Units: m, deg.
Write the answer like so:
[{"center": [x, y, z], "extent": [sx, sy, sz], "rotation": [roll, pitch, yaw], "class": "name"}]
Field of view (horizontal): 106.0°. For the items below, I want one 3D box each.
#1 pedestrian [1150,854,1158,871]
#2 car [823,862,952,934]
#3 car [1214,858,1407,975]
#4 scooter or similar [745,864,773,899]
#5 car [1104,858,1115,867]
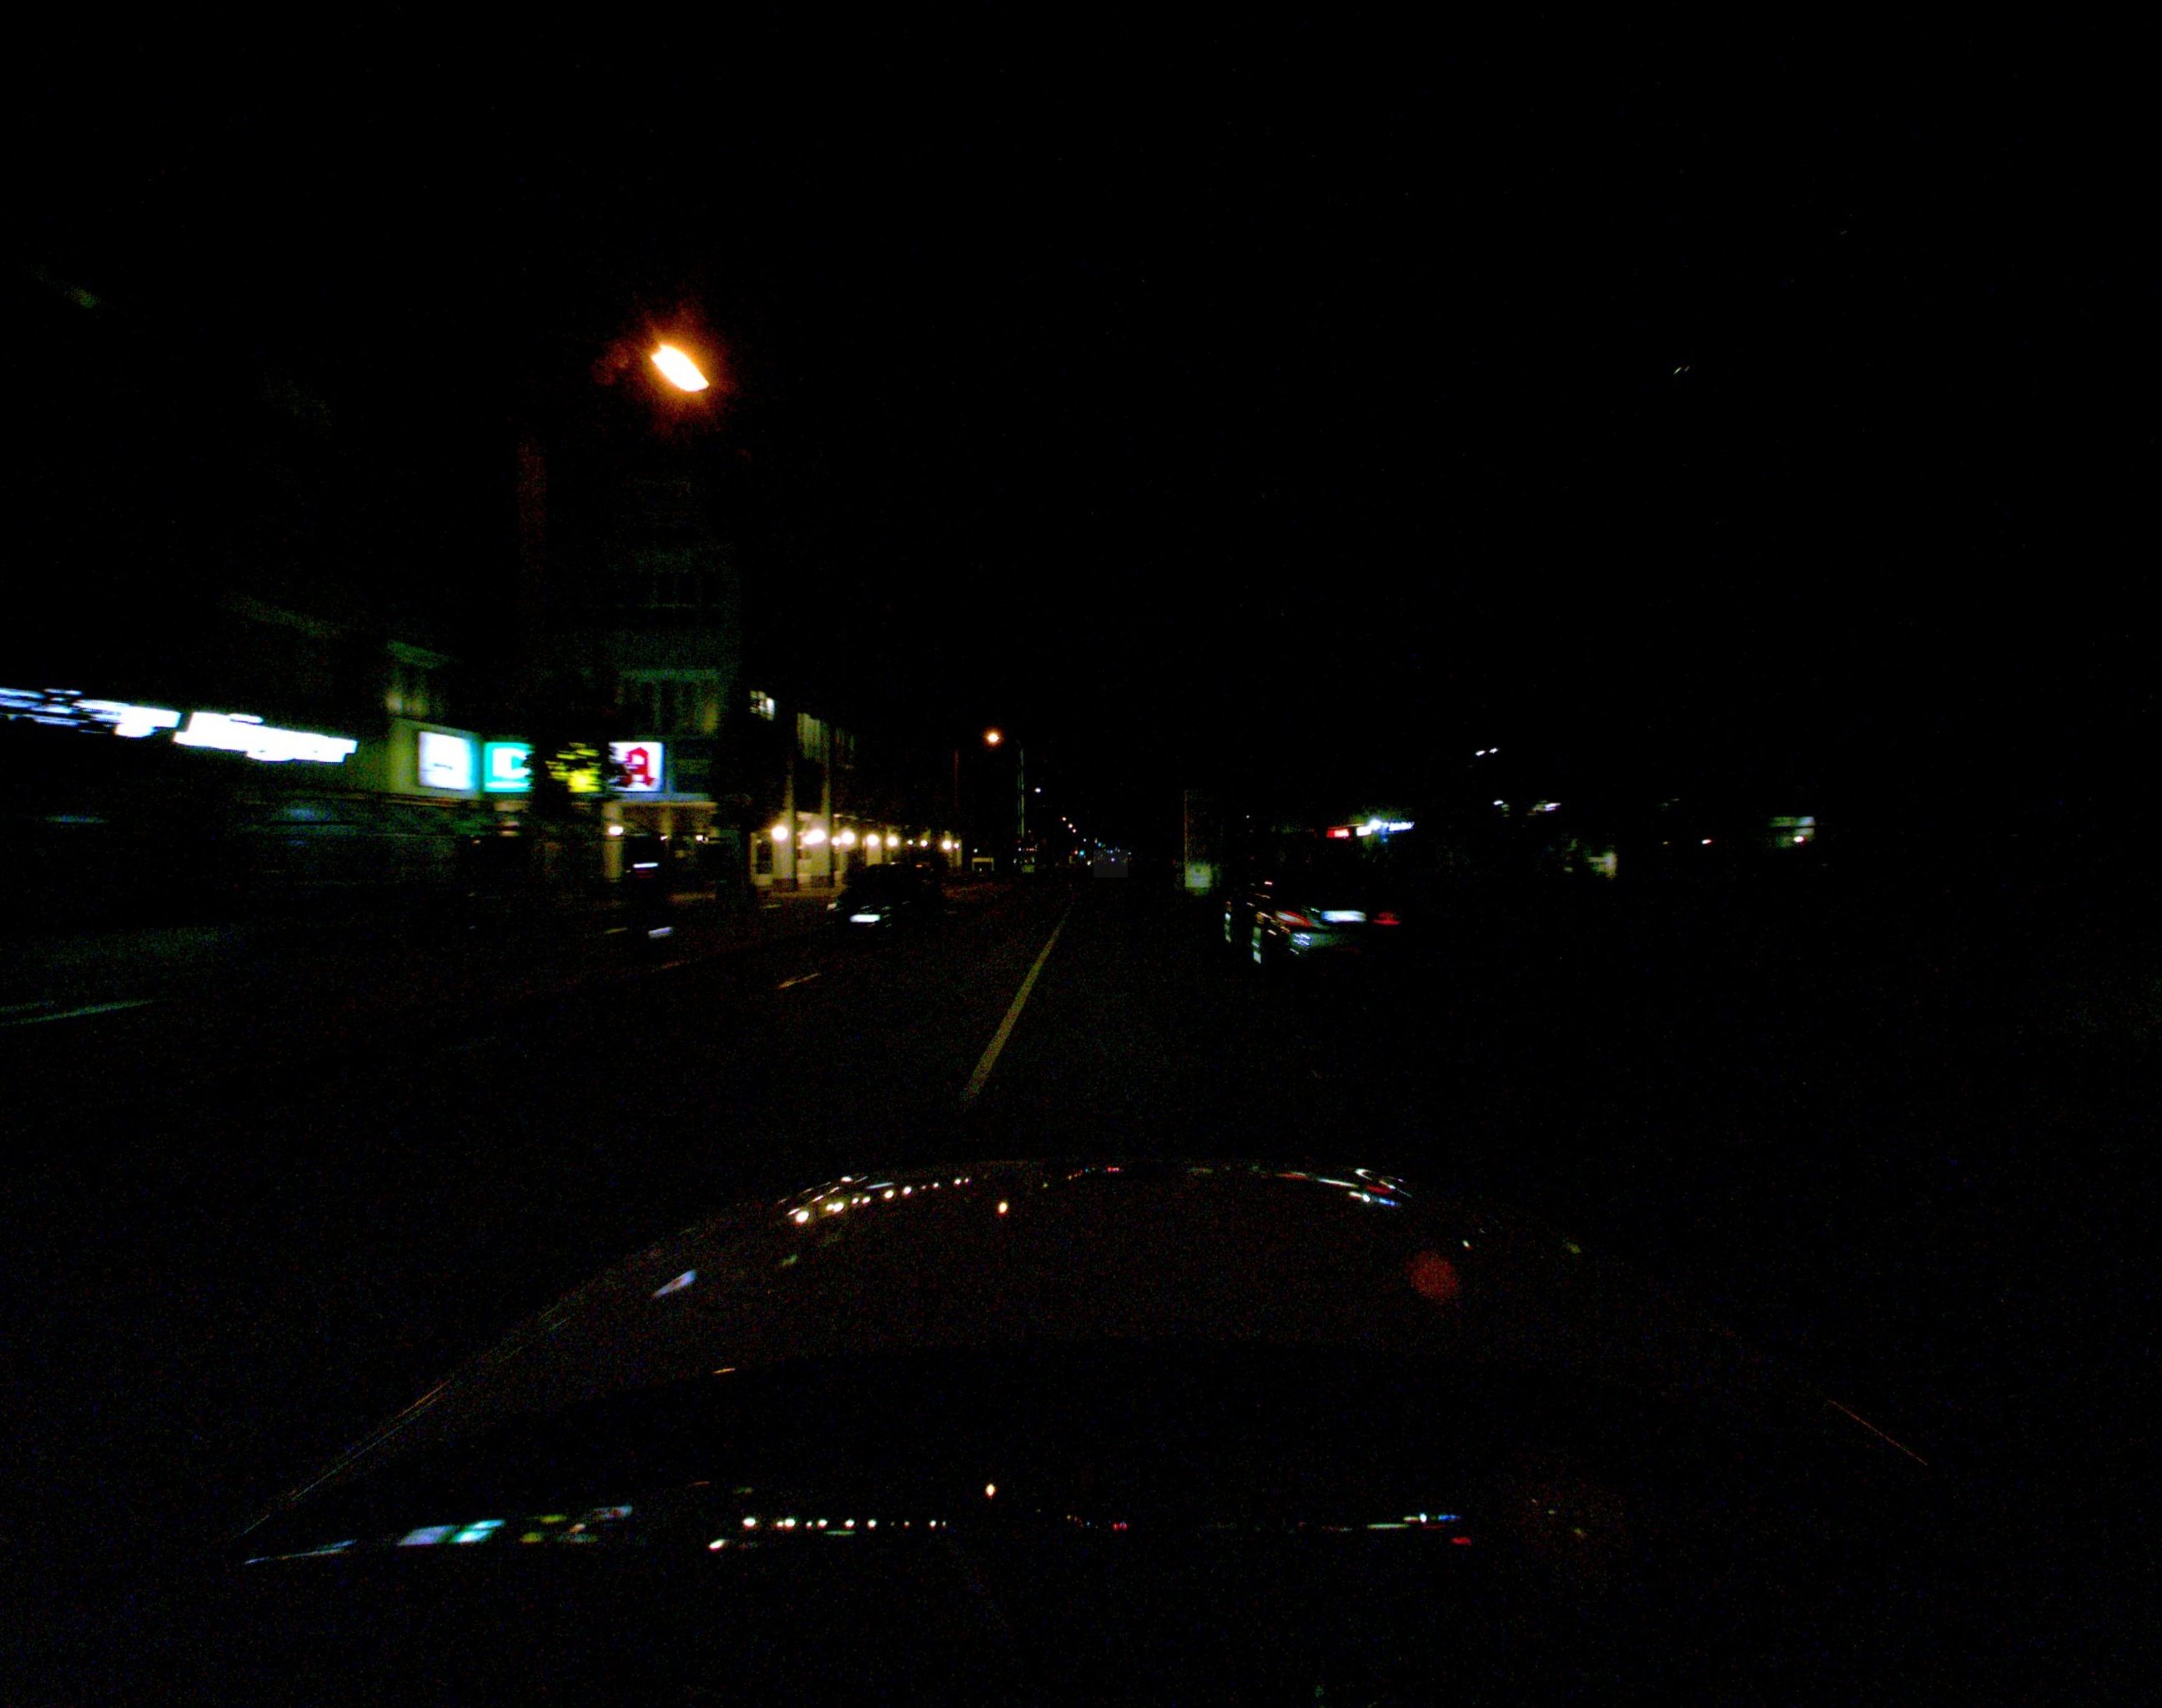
[{"center": [7.925, 0.890, 88.201], "extent": [0.700, 1.818, 1.082], "rotation": [-1, -1, 2], "class": "pedestrian"}, {"center": [-4.269, 0.912, 18.697], "extent": [1.734, 1.413, 4.497], "rotation": [0, 0, 2], "class": "car"}, {"center": [3.261, 0.796, 12.577], "extent": [1.757, 1.414, 4.809], "rotation": [-1, 0, 2], "class": "car"}, {"center": [-11.756, 0.986, 29.743], "extent": [0.386, 1.221, 1.345], "rotation": [-1, 0, 4], "class": "scooter or similar"}, {"center": [5.285, 1.533, 150.386], "extent": [1.986, 1.643, 4.000], "rotation": [-1, 0, 1], "class": "car"}]
